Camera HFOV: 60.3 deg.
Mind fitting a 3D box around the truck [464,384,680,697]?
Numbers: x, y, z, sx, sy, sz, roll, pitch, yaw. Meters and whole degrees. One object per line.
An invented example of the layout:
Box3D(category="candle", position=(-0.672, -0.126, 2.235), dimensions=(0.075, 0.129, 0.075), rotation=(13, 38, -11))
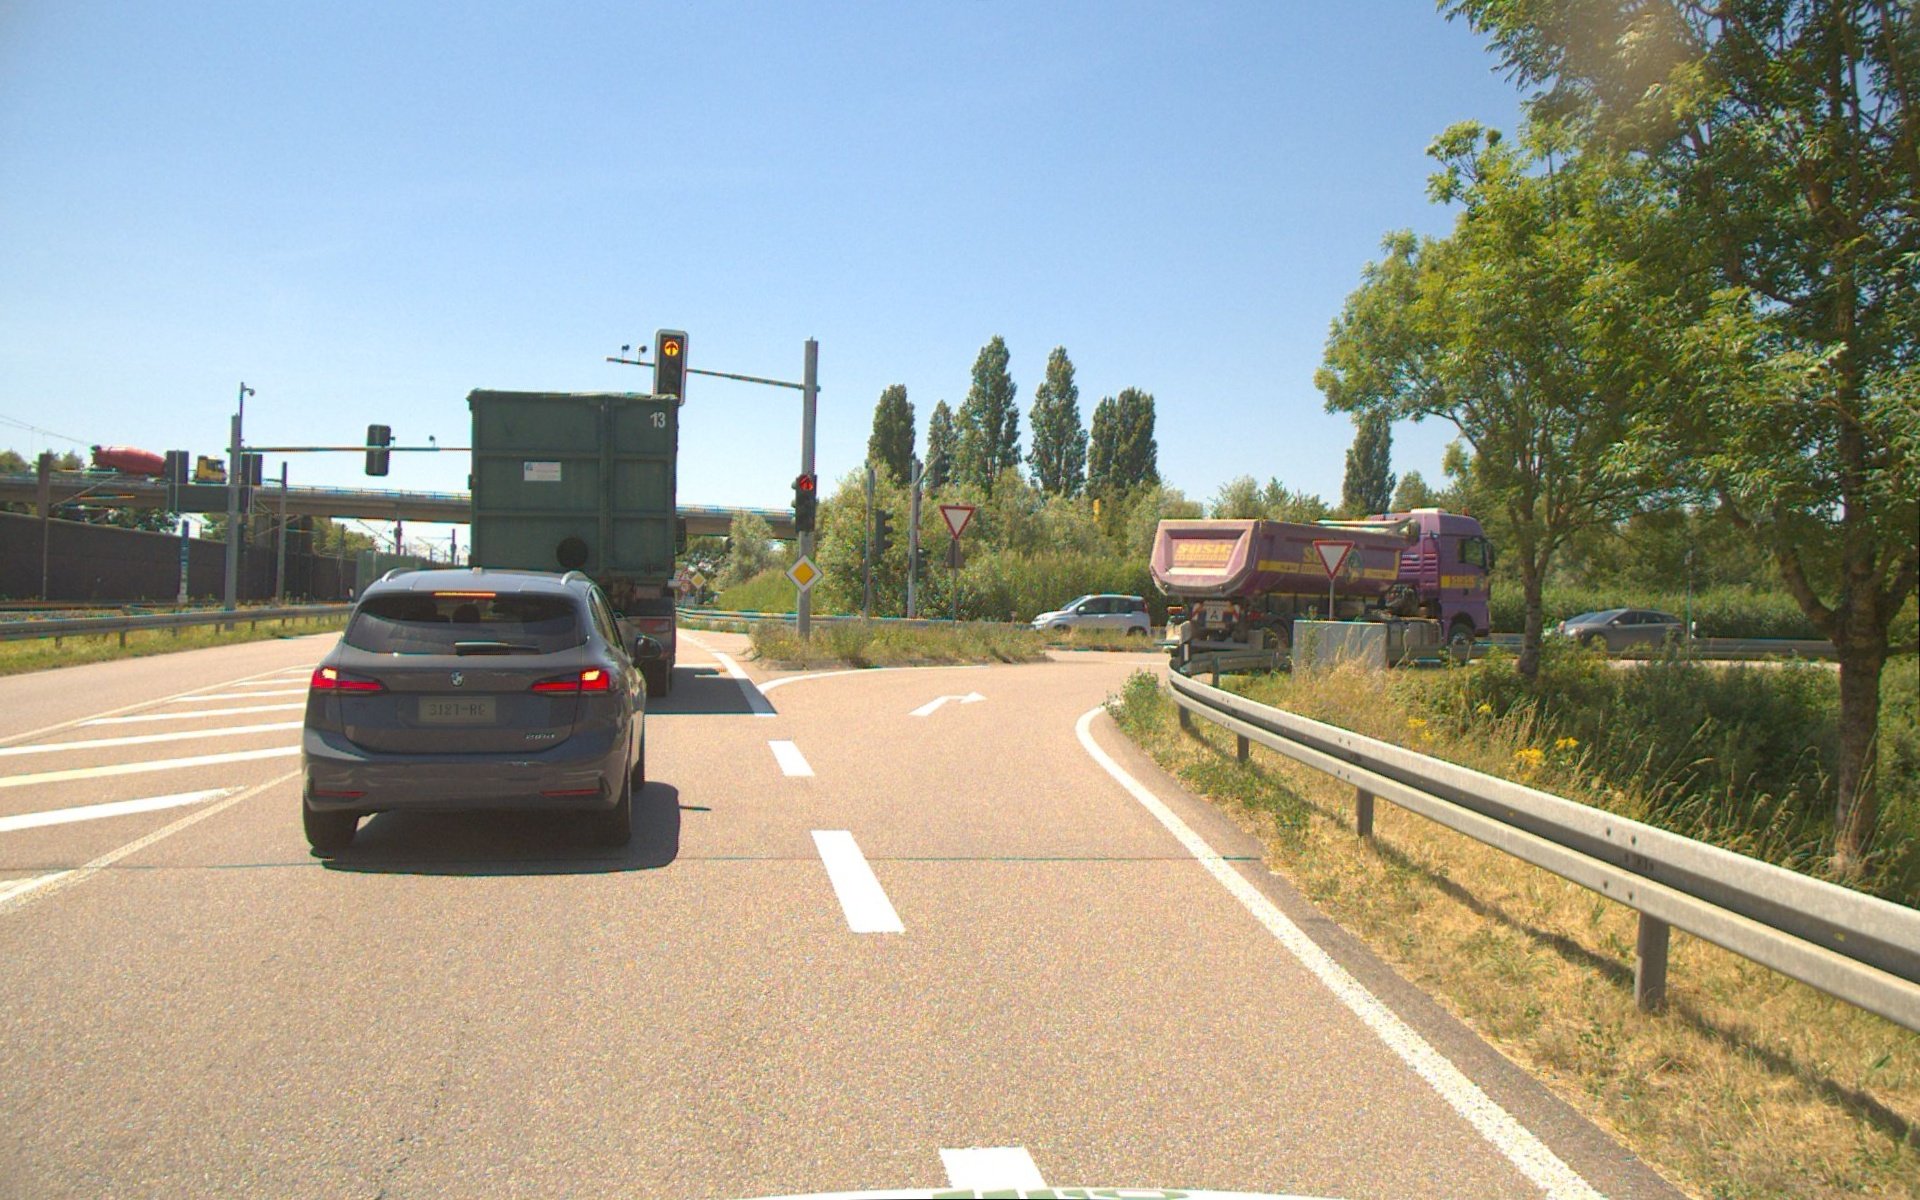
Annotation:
Box3D(category="truck", position=(-5.553, -0.759, 25.034), dimensions=(2.542, 3.803, 9.553), rotation=(1, 0, -10))

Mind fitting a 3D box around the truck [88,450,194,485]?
Box3D(category="truck", position=(-74.177, -12.003, 149.947), dimensions=(8.343, 2.721, 1.995), rotation=(1, 0, -11))

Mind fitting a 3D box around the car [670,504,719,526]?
Box3D(category="car", position=(-27.097, -8.673, 168.843), dimensions=(4.871, 2.049, 1.995), rotation=(1, 0, -11))

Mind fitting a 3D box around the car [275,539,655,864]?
Box3D(category="car", position=(-2.930, 0.521, 10.649), dimensions=(1.811, 1.651, 4.216), rotation=(1, 0, -10))

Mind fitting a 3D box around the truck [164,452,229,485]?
Box3D(category="truck", position=(-69.595, -11.939, 150.899), dimensions=(5.000, 2.721, 1.994), rotation=(1, 0, -12))

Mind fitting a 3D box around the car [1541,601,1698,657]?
Box3D(category="car", position=(20.401, 0.900, 51.257), dimensions=(4.147, 1.660, 1.929), rotation=(1, 0, -10))

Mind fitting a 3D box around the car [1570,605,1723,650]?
Box3D(category="car", position=(22.839, 0.916, 55.101), dimensions=(4.312, 1.422, 1.995), rotation=(1, 0, -10))

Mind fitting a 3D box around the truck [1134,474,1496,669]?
Box3D(category="truck", position=(8.597, -0.537, 38.282), dimensions=(2.792, 3.888, 11.815), rotation=(1, 0, 41))

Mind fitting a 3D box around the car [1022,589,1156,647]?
Box3D(category="car", position=(3.777, 0.523, 48.691), dimensions=(3.640, 1.660, 1.730), rotation=(1, 0, -11))
